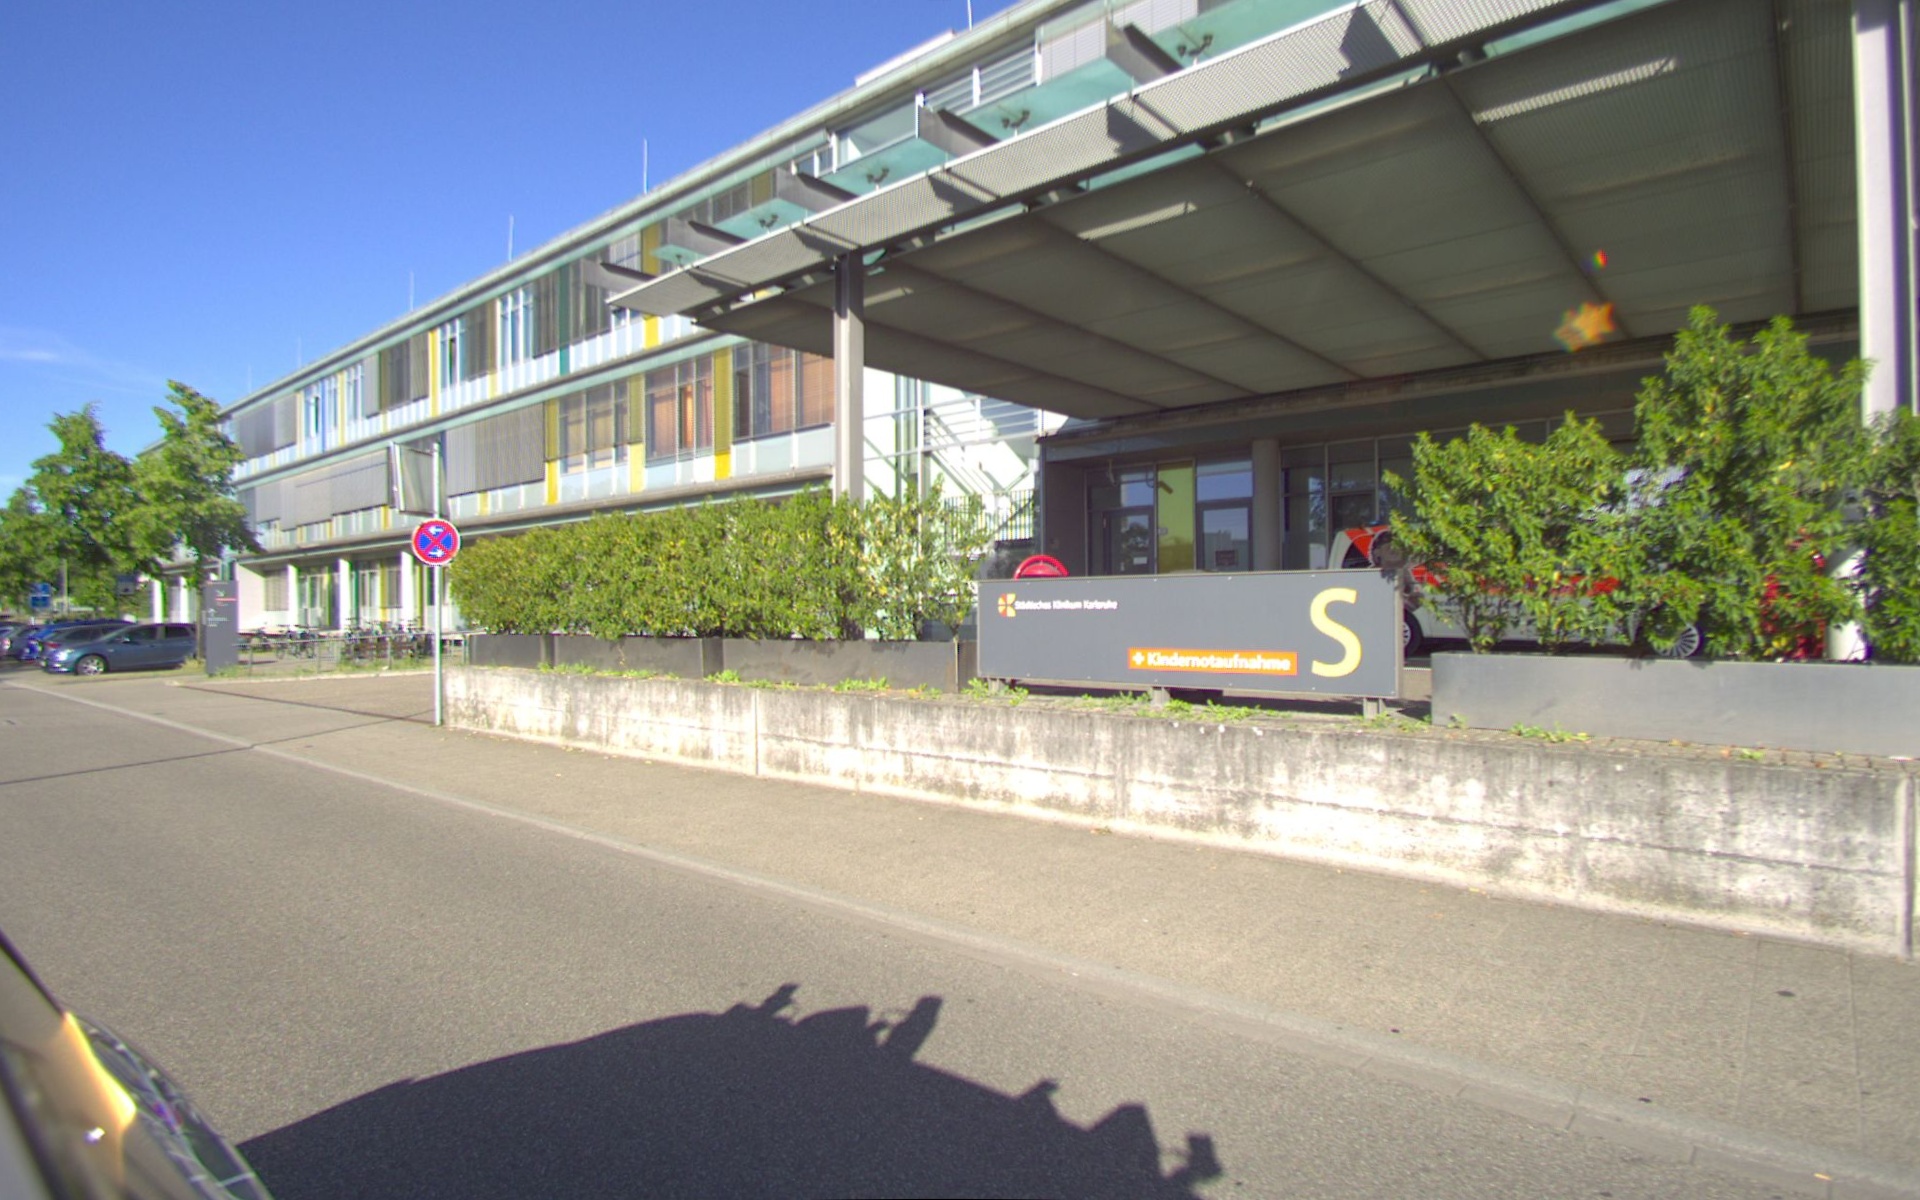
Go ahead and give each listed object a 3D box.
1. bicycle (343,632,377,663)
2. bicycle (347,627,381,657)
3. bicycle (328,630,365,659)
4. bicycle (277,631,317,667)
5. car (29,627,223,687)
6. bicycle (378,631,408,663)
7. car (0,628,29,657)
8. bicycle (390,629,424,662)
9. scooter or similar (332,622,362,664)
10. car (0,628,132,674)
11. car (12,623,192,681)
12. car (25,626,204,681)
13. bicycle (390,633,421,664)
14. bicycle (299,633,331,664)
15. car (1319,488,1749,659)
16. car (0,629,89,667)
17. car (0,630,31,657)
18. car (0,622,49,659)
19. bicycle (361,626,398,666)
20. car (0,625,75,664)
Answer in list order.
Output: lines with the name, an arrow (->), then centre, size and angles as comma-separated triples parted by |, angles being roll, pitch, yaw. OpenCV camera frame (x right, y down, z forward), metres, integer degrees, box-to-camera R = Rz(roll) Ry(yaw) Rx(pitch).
bicycle -> -20.591, 1.625, 34.740 | 1.778, 1.023, 0.442 | -2, -2, 40
bicycle -> -24.244, 1.691, 41.161 | 1.854, 1.208, 0.640 | -2, -2, 40
bicycle -> -23.615, 1.710, 38.958 | 1.854, 1.104, 0.640 | -2, -2, 40
bicycle -> -22.304, 1.636, 34.048 | 1.778, 1.151, 0.629 | -2, -2, 40
car -> -24.108, 1.598, 29.373 | 1.752, 1.478, 4.090 | -2, -1, 39
bicycle -> -18.960, 1.567, 33.832 | 1.394, 1.030, 0.349 | -2, -2, 36
car -> -58.462, 2.606, 60.302 | 4.298, 1.659, 2.001 | -2, 1, -44
bicycle -> -20.139, 1.644, 36.839 | 1.854, 1.144, 0.442 | -2, -2, 40
scooter or similar -> -19.093, 1.324, 31.519 | 1.205, 1.283, 0.465 | -2, -2, 42
car -> -35.179, 1.943, 39.627 | 1.822, 1.499, 3.942 | -1, 1, 39
car -> -27.802, 1.626, 32.898 | 1.958, 1.664, 4.180 | -2, -1, 38
car -> -25.897, 1.588, 31.098 | 1.729, 1.448, 3.949 | -2, -1, 38
bicycle -> -18.714, 1.636, 34.164 | 1.394, 1.030, 0.349 | -2, -2, 36
bicycle -> -21.973, 1.638, 34.473 | 1.778, 1.023, 0.422 | -2, -2, 40
car -> 7.510, -0.234, 13.545 | 4.708, 1.905, 1.899 | -2, -2, 41
car -> -40.738, 2.082, 44.038 | 1.822, 1.433, 4.051 | -1, 1, 39
car -> -56.415, 2.558, 58.202 | 4.298, 1.471, 2.001 | -2, 1, -44
car -> -52.287, 2.237, 54.678 | 1.999, 1.877, 4.302 | -2, 0, 42
bicycle -> -18.697, 1.485, 32.573 | 1.648, 1.056, 0.349 | -12, -8, 35
car -> -45.004, 2.124, 47.939 | 1.997, 1.639, 4.309 | -1, 1, 37
